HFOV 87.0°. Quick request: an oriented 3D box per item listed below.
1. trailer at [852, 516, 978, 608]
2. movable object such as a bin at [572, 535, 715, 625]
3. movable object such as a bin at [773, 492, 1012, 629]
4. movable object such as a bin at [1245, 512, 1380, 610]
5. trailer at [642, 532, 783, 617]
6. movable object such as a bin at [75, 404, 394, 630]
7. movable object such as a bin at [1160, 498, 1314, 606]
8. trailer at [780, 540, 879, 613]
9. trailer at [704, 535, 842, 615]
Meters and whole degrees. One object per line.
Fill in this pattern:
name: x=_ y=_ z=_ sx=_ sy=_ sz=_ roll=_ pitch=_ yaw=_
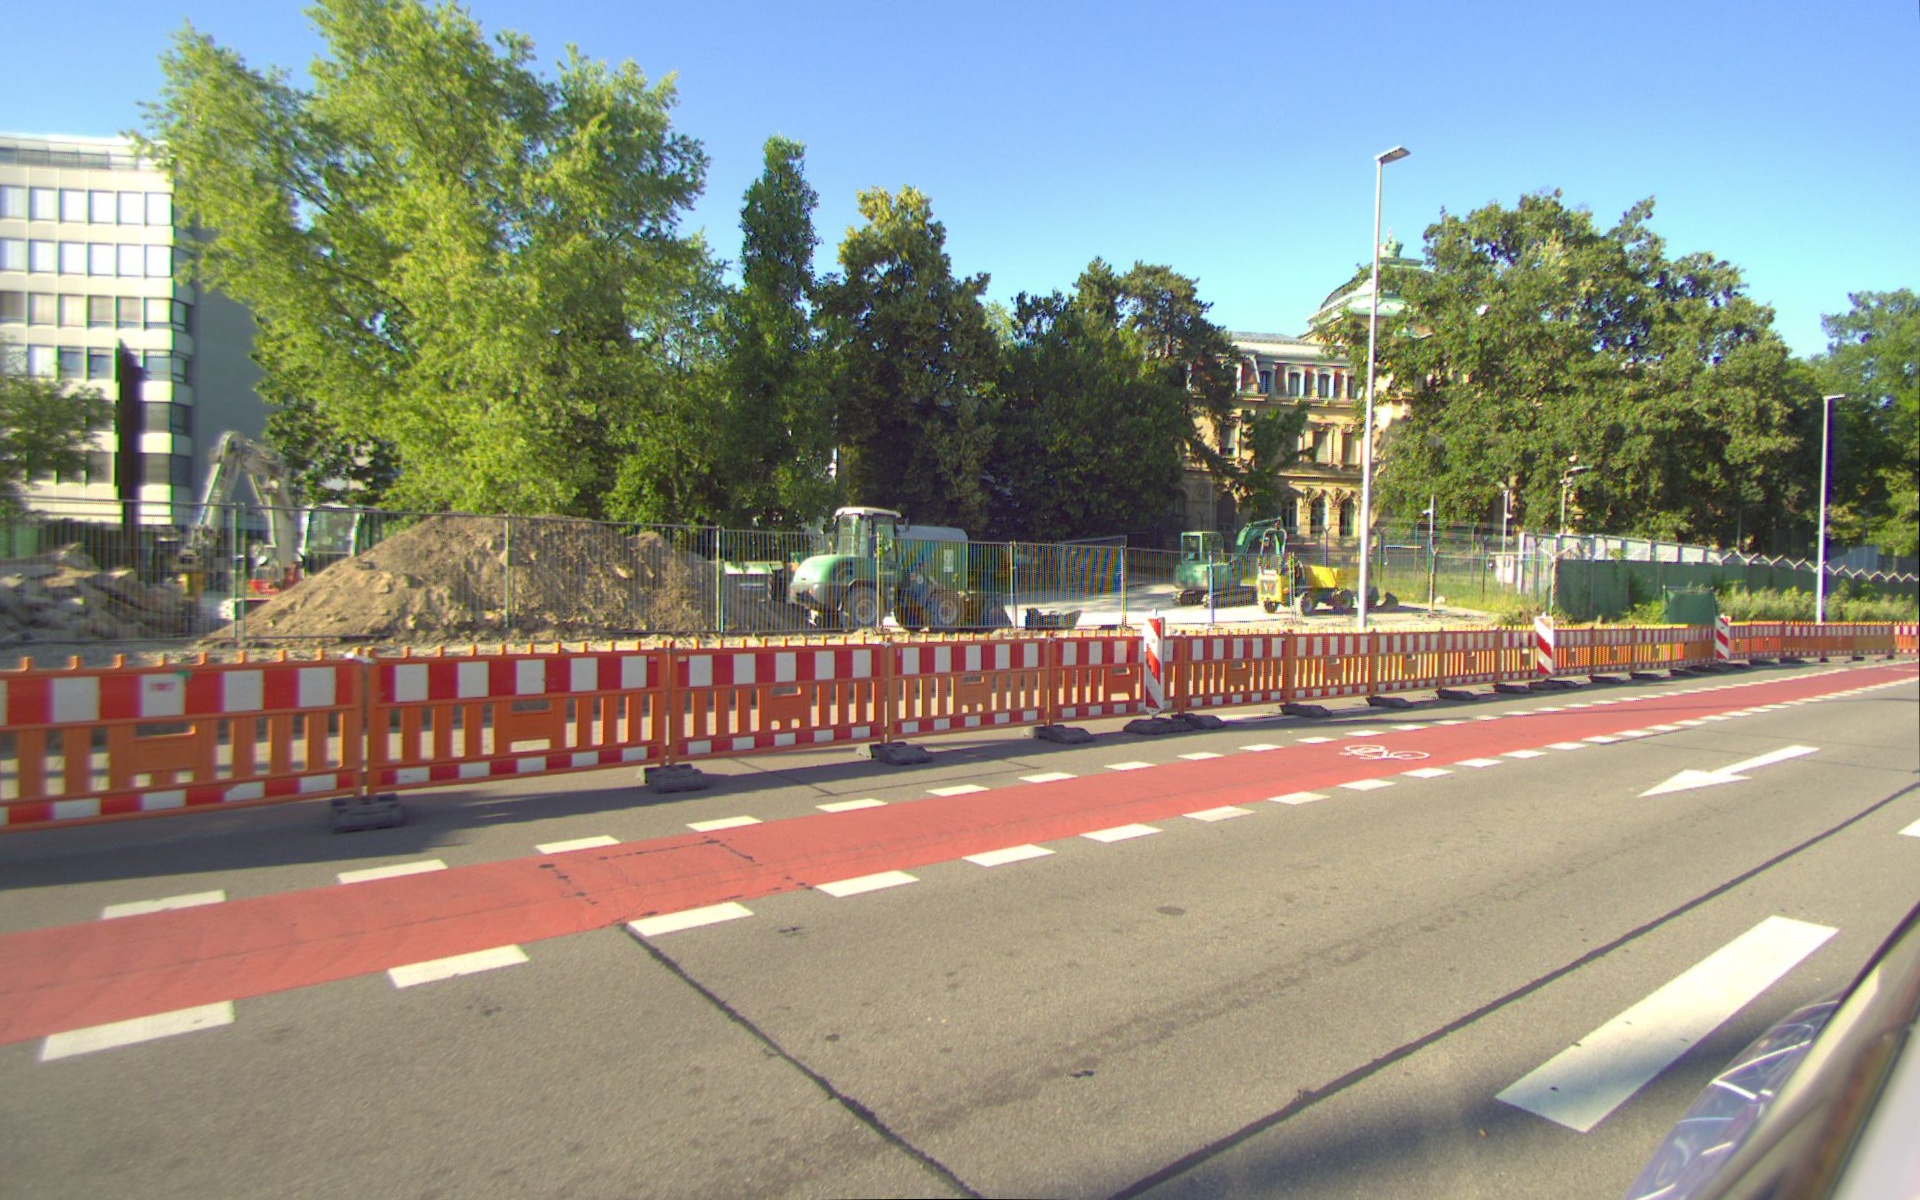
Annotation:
trailer: x=-1.681 y=-1.515 z=38.460 sx=3.920 sy=3.126 sz=2.614 roll=-7 pitch=6 yaw=-41
movable object such as a bin: x=-9.539 y=-0.689 z=30.242 sx=2.187 sy=2.349 sz=5.041 roll=-6 pitch=6 yaw=-40
movable object such as a bin: x=-1.434 y=-0.815 z=22.529 sx=4.852 sy=2.737 sz=2.282 roll=0 pitch=1 yaw=-38
movable object such as a bin: x=11.353 y=-1.208 z=32.591 sx=3.920 sy=2.940 sz=2.002 roll=1 pitch=1 yaw=-31
trailer: x=-7.870 y=-0.887 z=31.889 sx=2.187 sy=2.349 sz=5.041 roll=-6 pitch=6 yaw=-40
movable object such as a bin: x=-13.519 y=-1.421 z=19.574 sx=2.802 sy=3.602 sz=6.094 roll=1 pitch=1 yaw=-12
movable object such as a bin: x=9.978 y=-1.644 z=36.316 sx=5.392 sy=3.602 sz=2.285 roll=1 pitch=1 yaw=-33
trailer: x=-4.679 y=-0.891 z=36.203 sx=2.187 sy=2.349 sz=2.952 roll=-6 pitch=6 yaw=-40
trailer: x=-6.312 y=-0.904 z=33.754 sx=2.187 sy=2.349 sz=5.041 roll=-6 pitch=6 yaw=-40
